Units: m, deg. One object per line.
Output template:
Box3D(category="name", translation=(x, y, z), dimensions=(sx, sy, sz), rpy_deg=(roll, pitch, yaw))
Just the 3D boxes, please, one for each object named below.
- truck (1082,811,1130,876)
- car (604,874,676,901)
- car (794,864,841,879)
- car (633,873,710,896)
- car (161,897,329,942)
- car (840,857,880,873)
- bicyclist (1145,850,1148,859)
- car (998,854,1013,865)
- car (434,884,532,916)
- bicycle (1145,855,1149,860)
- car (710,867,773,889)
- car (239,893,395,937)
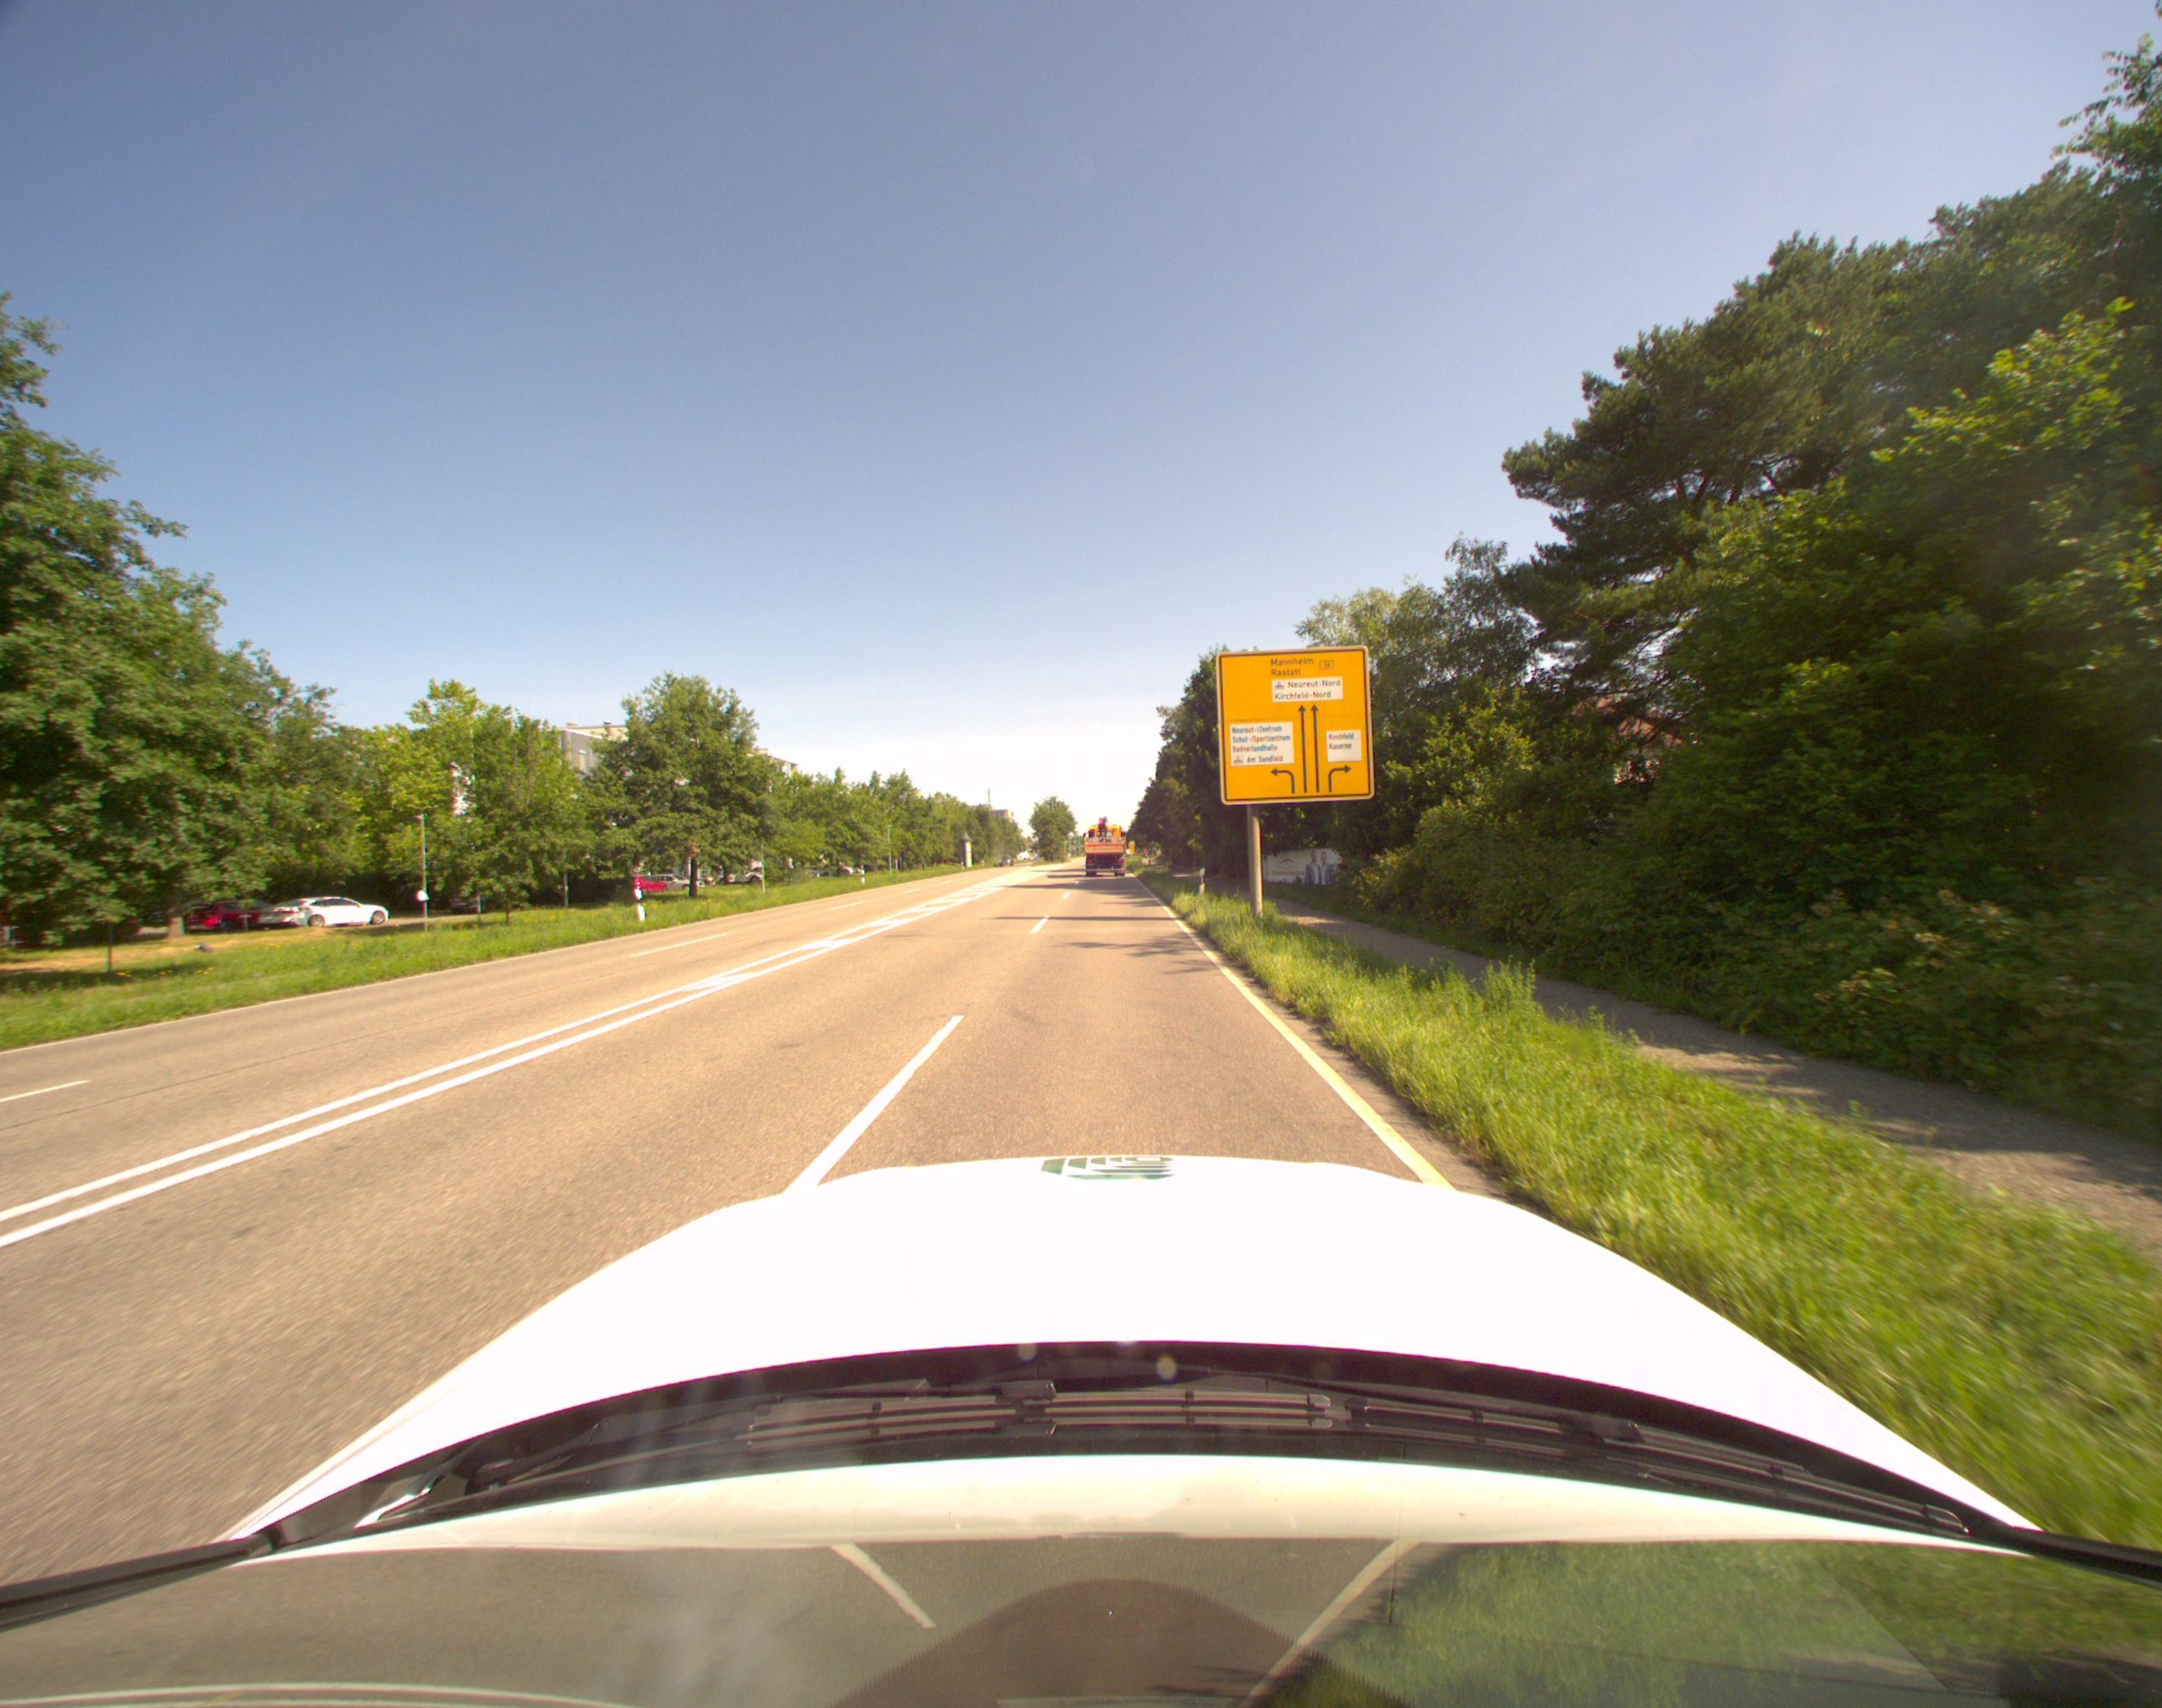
Box3D(category="truck", translation=(1.516, -0.668, 53.166), dimensions=(2.863, 3.880, 7.398), rpy_deg=(-1, 0, 0))
Box3D(category="car", translation=(-29.231, 2.194, 54.176), dimensions=(1.985, 1.437, 4.615), rpy_deg=(-3, 0, 4))
Box3D(category="car", translation=(-30.007, 1.961, 92.759), dimensions=(4.578, 1.437, 2.001), rpy_deg=(-3, 0, 1))
Box3D(category="car", translation=(-30.177, 2.251, 60.153), dimensions=(4.578, 1.437, 2.001), rpy_deg=(-3, 0, 1))
Box3D(category="car", translation=(-36.255, 2.774, 35.567), dimensions=(1.985, 1.437, 4.959), rpy_deg=(-3, 0, 3))
Box3D(category="car", translation=(-28.664, 1.459, 105.840), dimensions=(4.512, 1.757, 2.003), rpy_deg=(-3, 0, 4))
Box3D(category="bicyclist", translation=(11.584, 0.076, 144.210), dimensions=(0.556, 1.558, 0.558), rpy_deg=(-3, 0, 1))
Box3D(category="car", translation=(-11.771, 0.863, 127.877), dimensions=(1.794, 1.572, 4.001), rpy_deg=(-3, 0, 1))
Box3D(category="car", translation=(-33.689, 2.546, 46.077), dimensions=(1.986, 1.437, 4.612), rpy_deg=(-3, 0, 2))
Box3D(category="bicycle", translation=(11.626, 0.576, 144.249), dimensions=(0.556, 0.815, 1.964), rpy_deg=(-3, 0, 1))
Box3D(category="car", translation=(-30.046, 2.095, 72.157), dimensions=(4.578, 1.650, 2.001), rpy_deg=(-3, 0, 1))
Box3D(category="car", translation=(-33.643, 2.633, 36.106), dimensions=(1.985, 1.437, 4.959), rpy_deg=(-3, 0, 3))
